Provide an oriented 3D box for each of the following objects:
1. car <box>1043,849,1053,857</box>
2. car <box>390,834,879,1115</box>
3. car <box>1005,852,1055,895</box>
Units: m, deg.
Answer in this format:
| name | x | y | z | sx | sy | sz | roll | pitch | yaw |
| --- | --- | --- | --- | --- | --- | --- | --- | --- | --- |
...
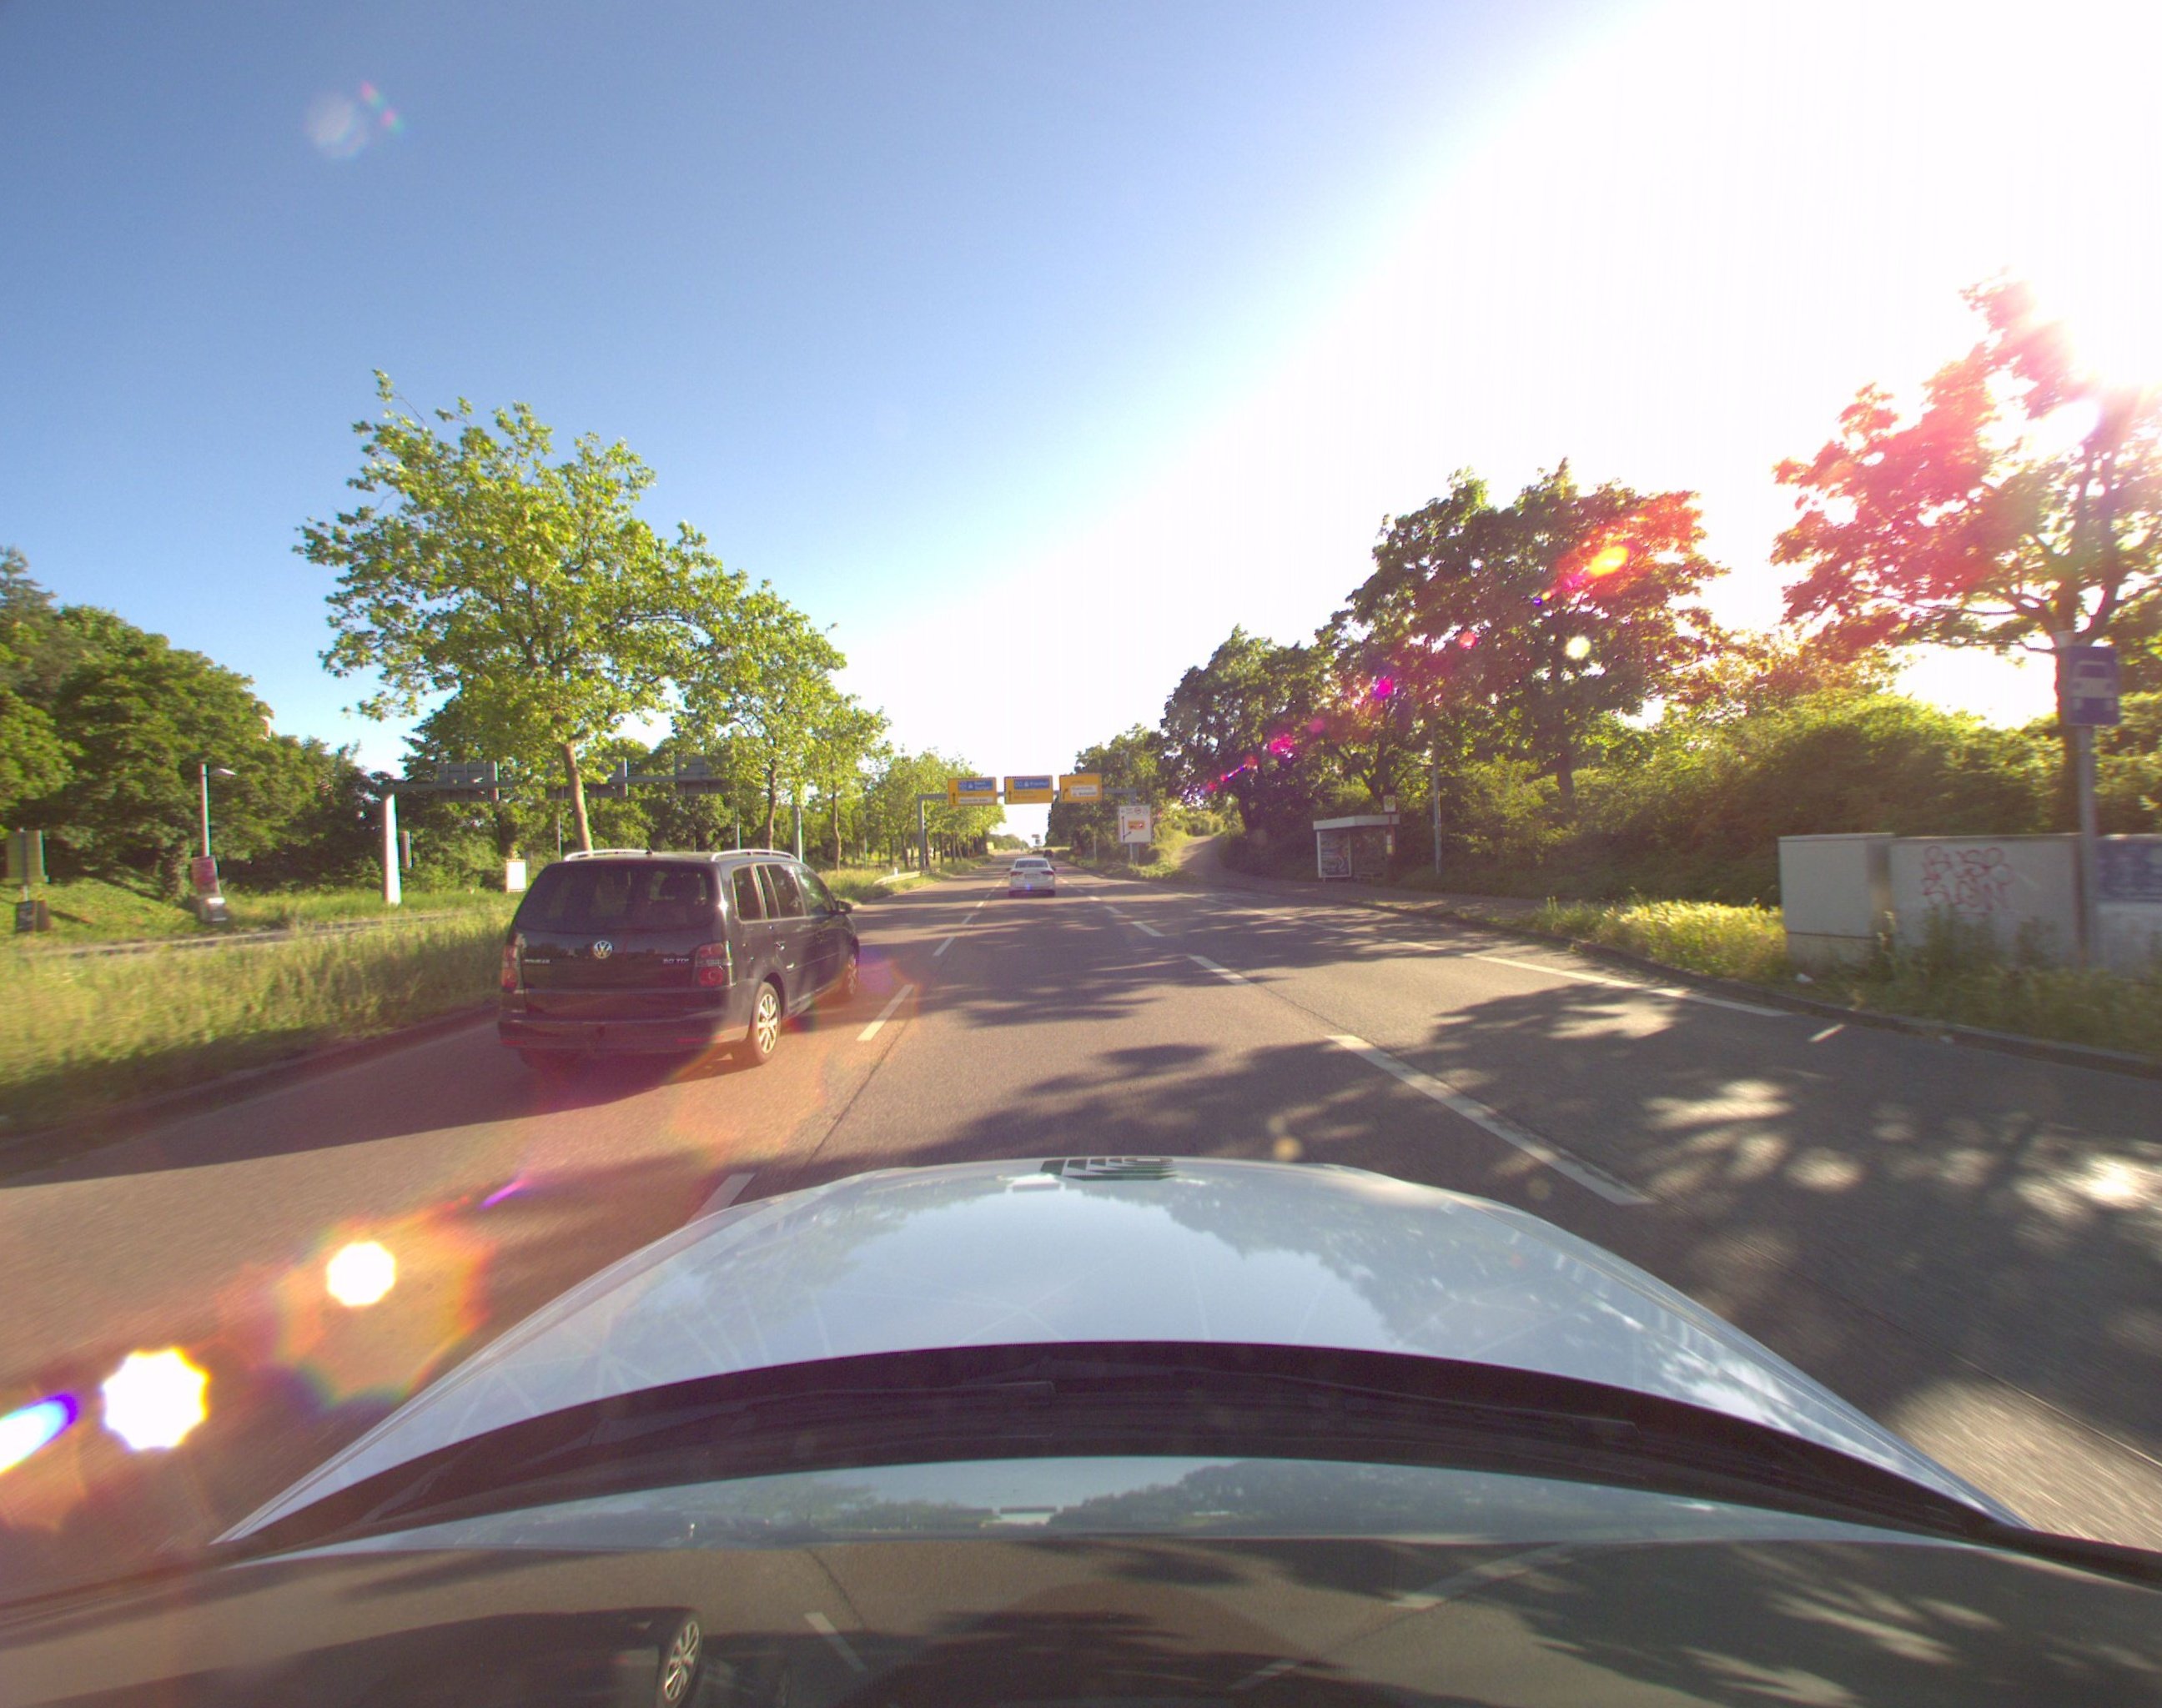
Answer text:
| name | x | y | z | sx | sy | sz | roll | pitch | yaw |
| --- | --- | --- | --- | --- | --- | --- | --- | --- | --- |
| car | -6.504 | -0.130 | 161.096 | 1.763 | 1.464 | 4.362 | -2 | 1 | -3 |
| car | -3.250 | 0.707 | 7.295 | 1.763 | 1.644 | 4.920 | 0 | 0 | -2 |
| car | -1.941 | 0.710 | 32.174 | 1.763 | 1.464 | 4.363 | -2 | 1 | -2 |
